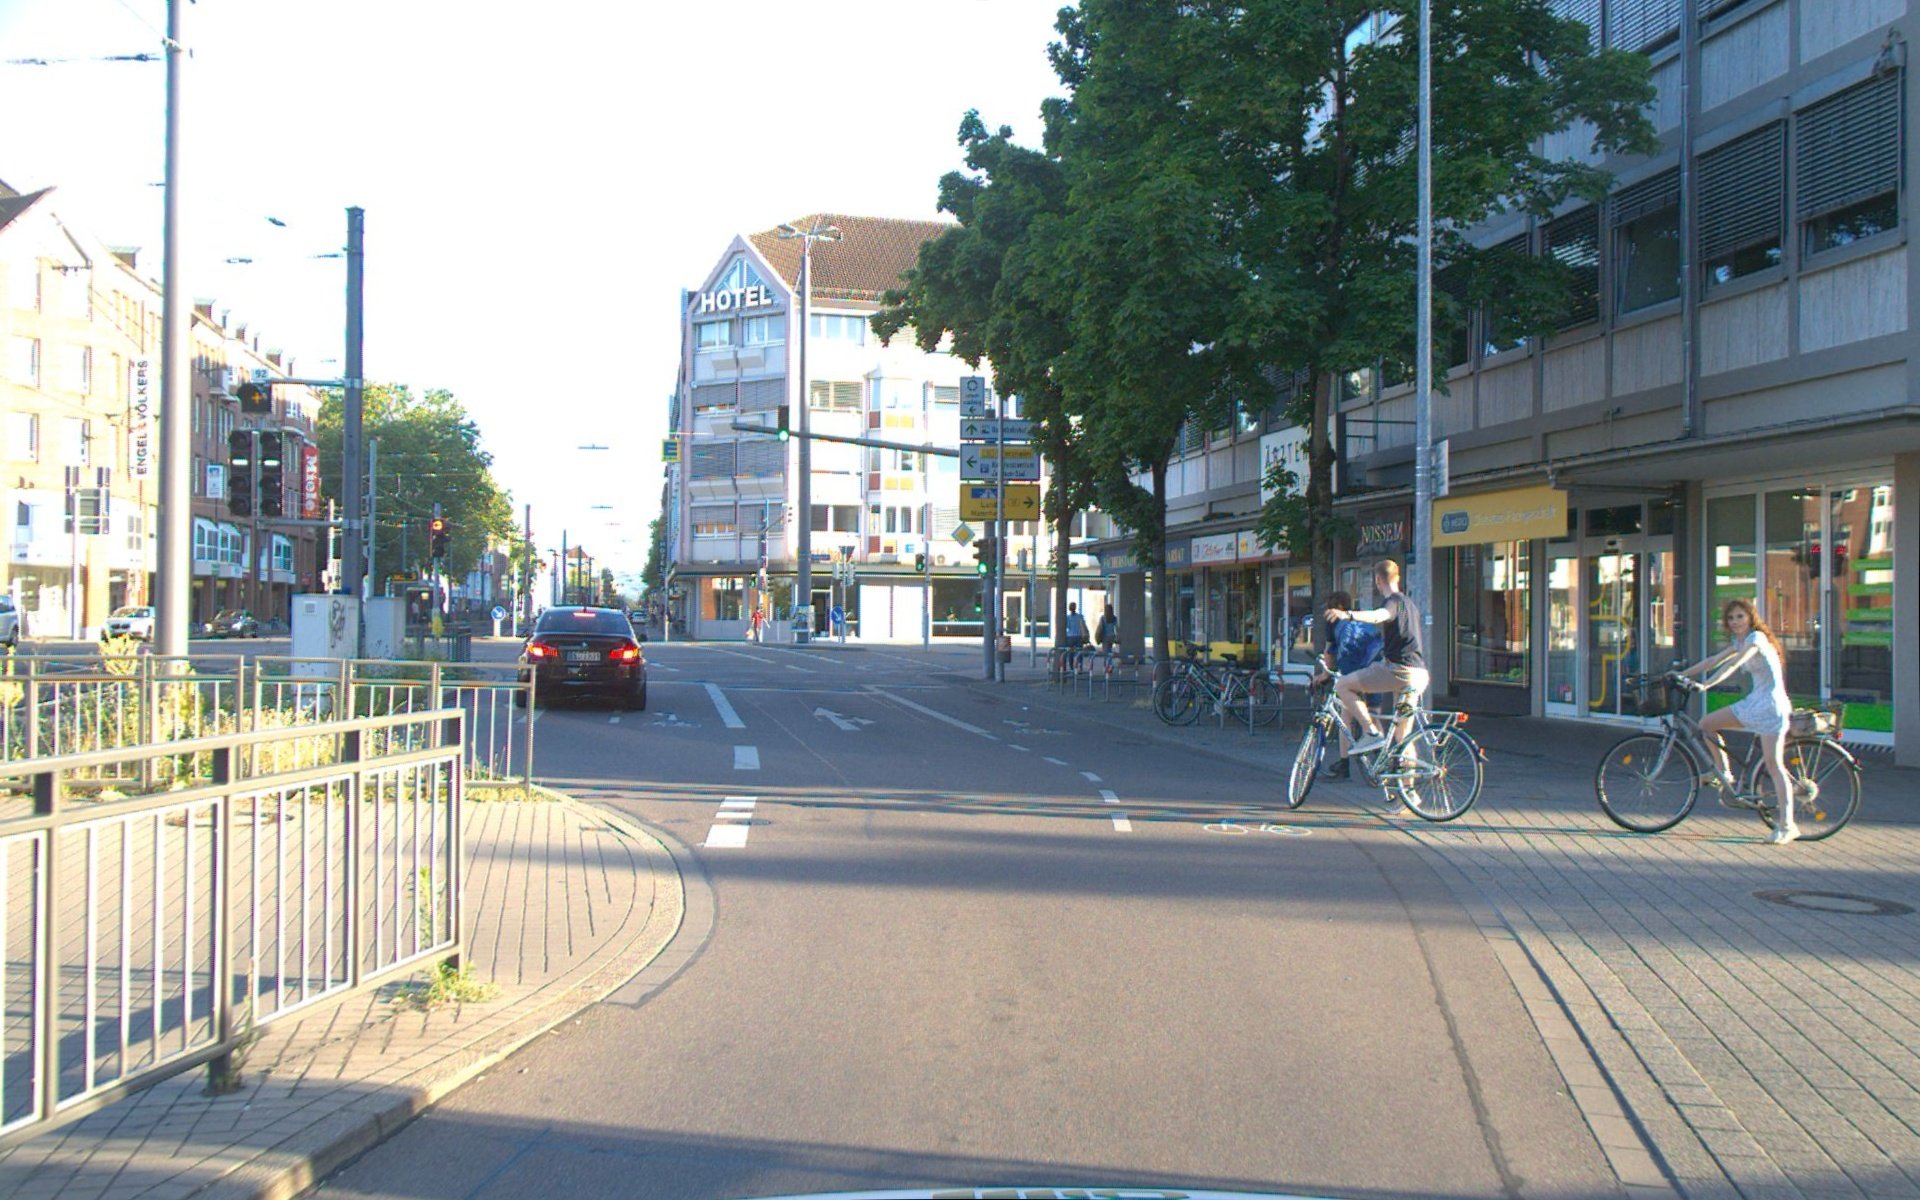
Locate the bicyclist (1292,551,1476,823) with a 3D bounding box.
[{"bbox_3d":[3.213,0.626,12.545,1.095,1.951,0.835,0,-1,42],"label":"bicyclist"}]

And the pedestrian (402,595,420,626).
[{"bbox_3d":[-36.885,0.730,111.122,0.970,2.049,0.723,2,-1,-12],"label":"pedestrian"}]

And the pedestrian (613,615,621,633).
[{"bbox_3d":[-39.645,2.817,191.022,0.898,2.049,0.884,1,-1,-12],"label":"pedestrian"}]

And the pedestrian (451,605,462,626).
[{"bbox_3d":[-41.360,1.301,135.861,0.710,1.710,0.989,0,-1,-9],"label":"pedestrian"}]

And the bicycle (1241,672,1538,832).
[{"bbox_3d":[3.219,1.103,12.533,2.040,1.038,0.835,0,-1,42],"label":"bicycle"}]

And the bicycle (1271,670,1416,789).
[{"bbox_3d":[3.569,1.181,15.538,0.457,0.987,1.790,1,-1,-19],"label":"bicycle"}]

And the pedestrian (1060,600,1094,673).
[{"bbox_3d":[2.739,0.843,38.811,0.671,1.696,0.670,0,-1,-8],"label":"pedestrian"}]

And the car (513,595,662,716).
[{"bbox_3d":[-5.626,0.793,25.044,1.959,1.613,3.987,3,-1,-13],"label":"car"}]

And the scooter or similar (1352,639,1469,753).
[{"bbox_3d":[5.160,1.086,18.959,1.250,1.257,0.337,0,-1,31],"label":"scooter or similar"}]

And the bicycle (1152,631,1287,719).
[{"bbox_3d":[3.778,1.088,24.169,1.865,1.257,0.668,0,-1,0],"label":"bicycle"}]

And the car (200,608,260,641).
[{"bbox_3d":[-36.809,1.214,83.540,1.959,1.613,4.463,0,0,-13],"label":"car"}]

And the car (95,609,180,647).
[{"bbox_3d":[-32.861,1.097,66.191,1.637,1.473,4.196,0,-1,-6],"label":"car"}]

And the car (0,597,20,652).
[{"bbox_3d":[-29.304,0.717,48.689,1.962,1.613,4.093,0,0,-17],"label":"car"}]

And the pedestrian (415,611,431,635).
[{"bbox_3d":[-37.644,1.623,115.996,0.970,1.710,0.723,0,-1,-13],"label":"pedestrian"}]

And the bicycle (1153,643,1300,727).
[{"bbox_3d":[3.721,1.182,23.188,1.955,1.130,0.668,0,-1,2],"label":"bicycle"}]

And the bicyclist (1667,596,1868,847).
[{"bbox_3d":[5.563,0.803,11.462,1.087,1.651,0.841,0,-1,13],"label":"bicyclist"}]

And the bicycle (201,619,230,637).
[{"bbox_3d":[-40.670,1.537,90.380,1.396,0.938,0.440,3,-1,-28],"label":"bicycle"}]

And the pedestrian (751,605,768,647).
[{"bbox_3d":[-9.043,1.167,74.623,0.673,1.887,0.668,1,-1,-15],"label":"pedestrian"}]

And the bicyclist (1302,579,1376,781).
[{"bbox_3d":[3.562,0.737,15.564,0.457,1.862,0.556,1,-1,-19],"label":"bicyclist"}]

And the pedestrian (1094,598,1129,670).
[{"bbox_3d":[3.608,0.811,39.359,0.709,1.696,0.670,0,-1,-8],"label":"pedestrian"}]

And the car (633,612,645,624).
[{"bbox_3d":[-41.376,2.280,212.947,1.447,1.541,3.086,1,0,-12],"label":"car"}]

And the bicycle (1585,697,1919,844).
[{"bbox_3d":[5.446,1.158,11.503,1.963,0.896,0.841,0,-1,13],"label":"bicycle"}]
